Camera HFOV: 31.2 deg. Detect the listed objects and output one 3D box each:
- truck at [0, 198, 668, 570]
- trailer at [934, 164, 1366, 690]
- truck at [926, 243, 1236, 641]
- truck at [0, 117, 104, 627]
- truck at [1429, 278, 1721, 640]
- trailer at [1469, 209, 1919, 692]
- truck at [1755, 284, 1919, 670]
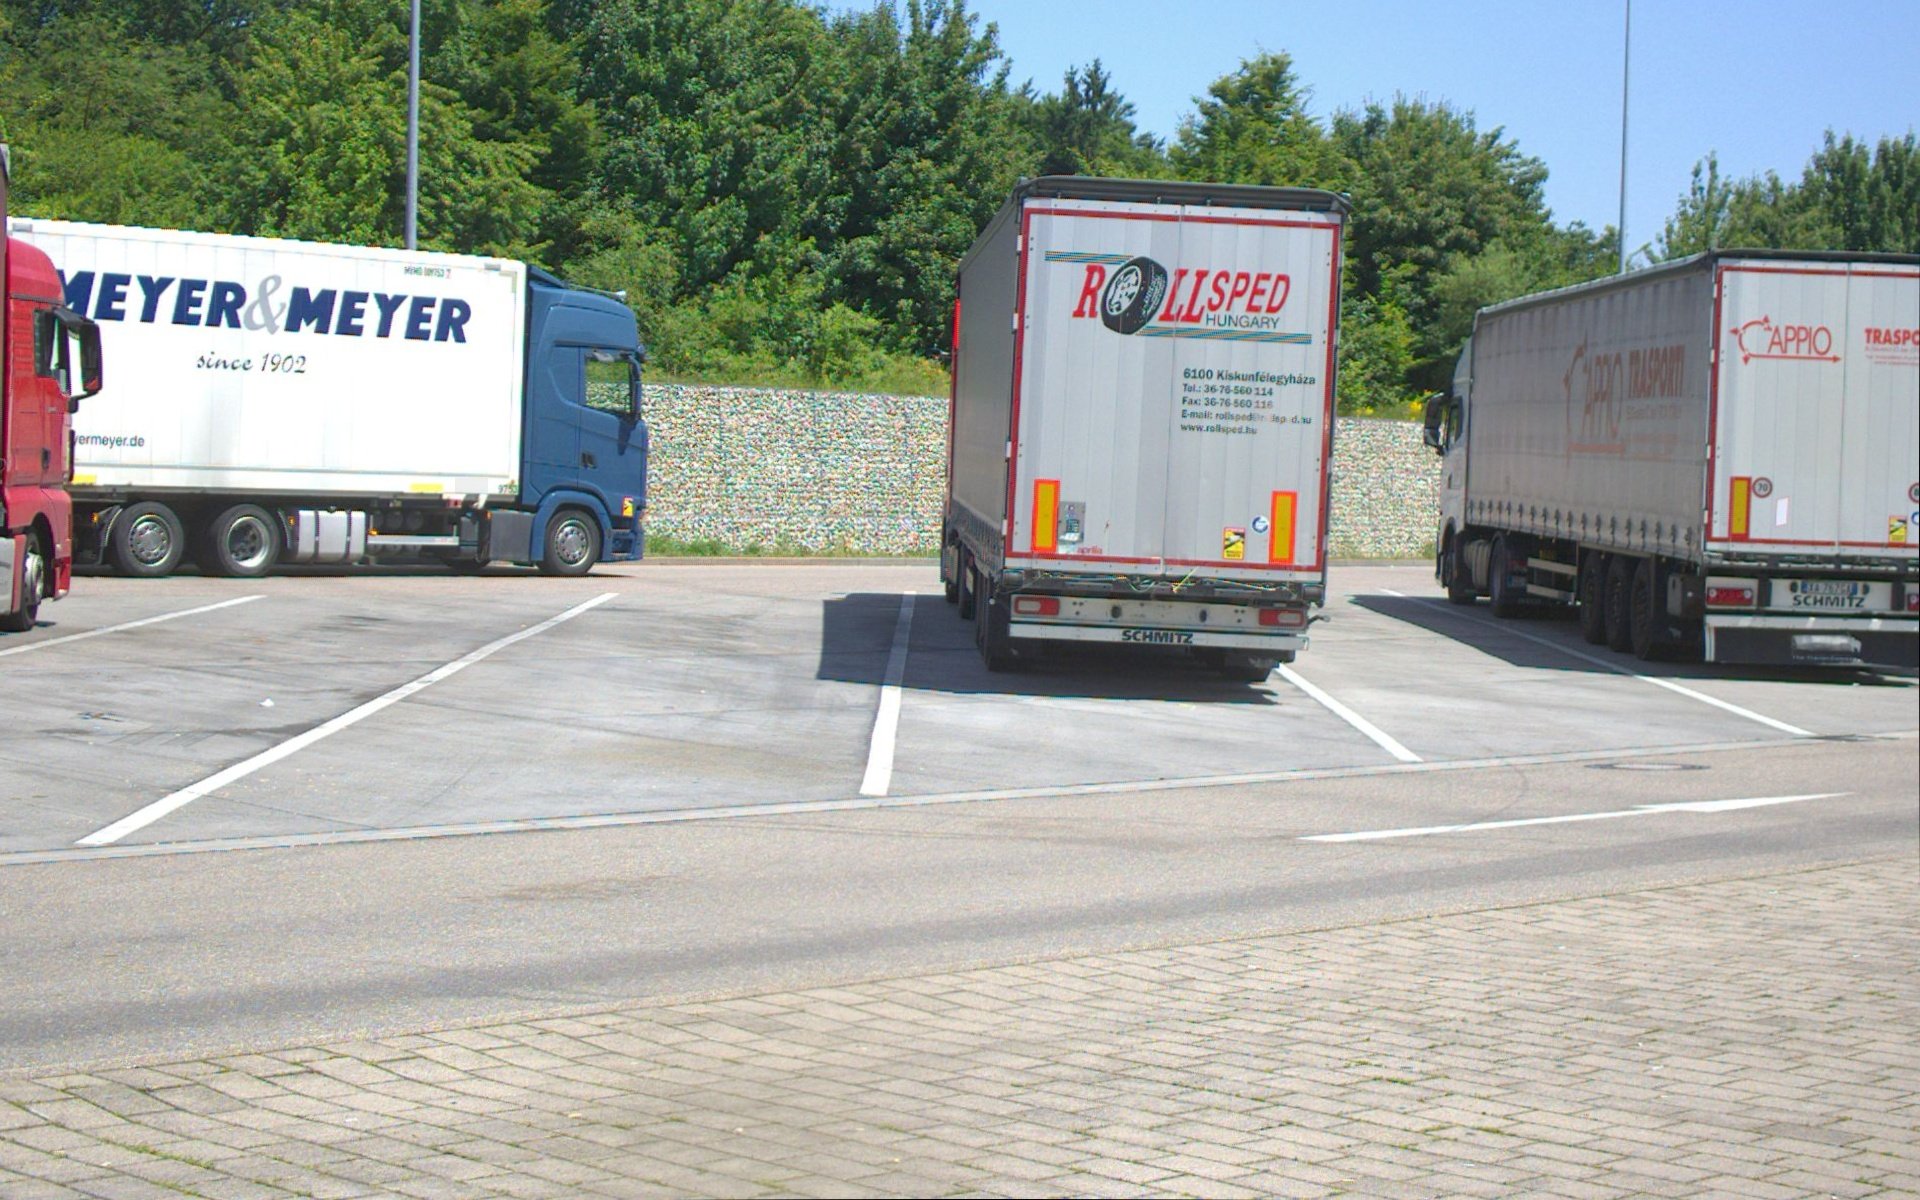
[{"bbox_3d":[-8.173,-2.467,42.504,2.240,4.019,10.028,2,1,44],"label":"truck"},{"bbox_3d":[1.413,-1.503,32.021,2.897,4.000,11.319,1,2,-2],"label":"trailer"},{"bbox_3d":[1.194,-1.692,37.740,2.871,3.966,6.030,1,2,-2],"label":"truck"},{"bbox_3d":[-9.177,-1.875,28.353,2.805,4.119,5.894,1,2,-1],"label":"truck"},{"bbox_3d":[7.978,-1.828,45.315,2.661,4.437,5.864,1,2,-1],"label":"truck"},{"bbox_3d":[8.110,-1.580,38.227,2.681,4.437,12.831,1,2,-1],"label":"trailer"},{"bbox_3d":[11.729,-1.337,38.721,2.587,4.211,11.971,1,1,-1],"label":"truck"}]
